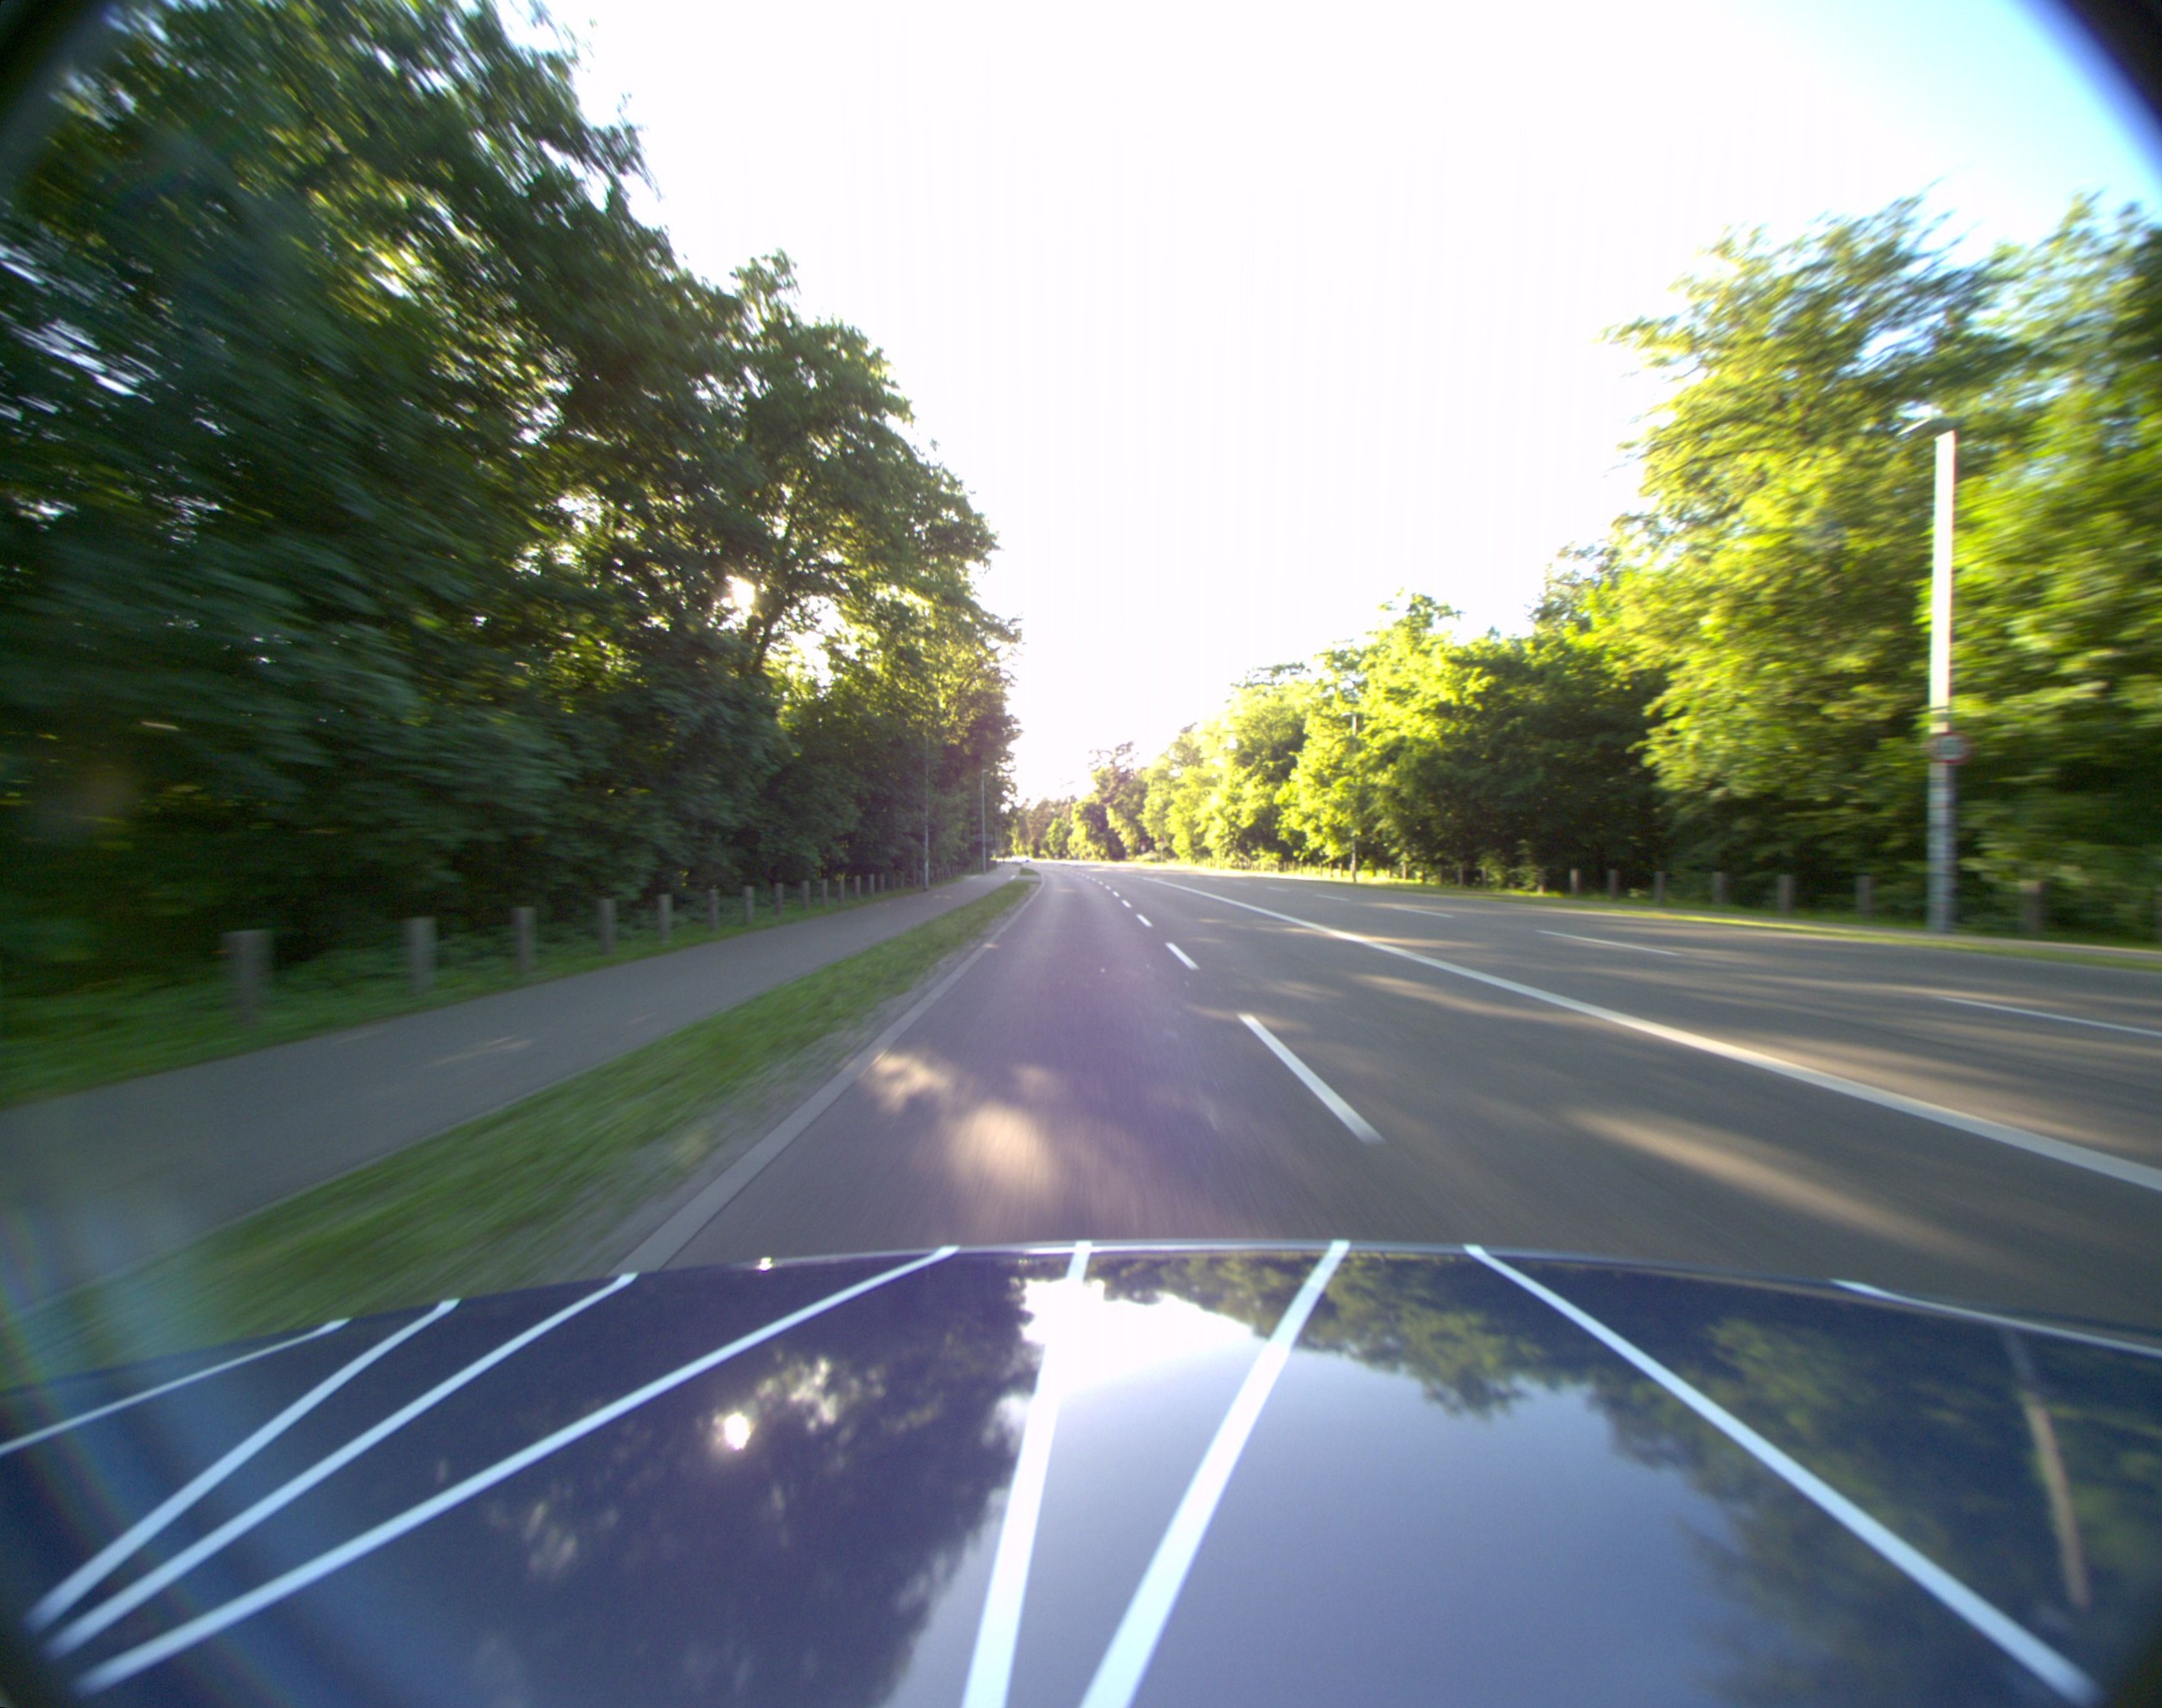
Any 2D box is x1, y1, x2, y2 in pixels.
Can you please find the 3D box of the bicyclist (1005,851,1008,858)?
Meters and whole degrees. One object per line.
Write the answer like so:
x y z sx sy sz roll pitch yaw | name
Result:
-13.893 0.154 141.665 0.515 1.260 0.497 -1 1 -11 | bicyclist

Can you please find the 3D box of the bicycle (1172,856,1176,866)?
11.446 0.837 93.581 0.402 1.125 2.220 -2 1 5 | bicycle

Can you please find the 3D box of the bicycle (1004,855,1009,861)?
-13.892 0.717 141.838 0.609 1.051 2.872 -1 0 -11 | bicycle
